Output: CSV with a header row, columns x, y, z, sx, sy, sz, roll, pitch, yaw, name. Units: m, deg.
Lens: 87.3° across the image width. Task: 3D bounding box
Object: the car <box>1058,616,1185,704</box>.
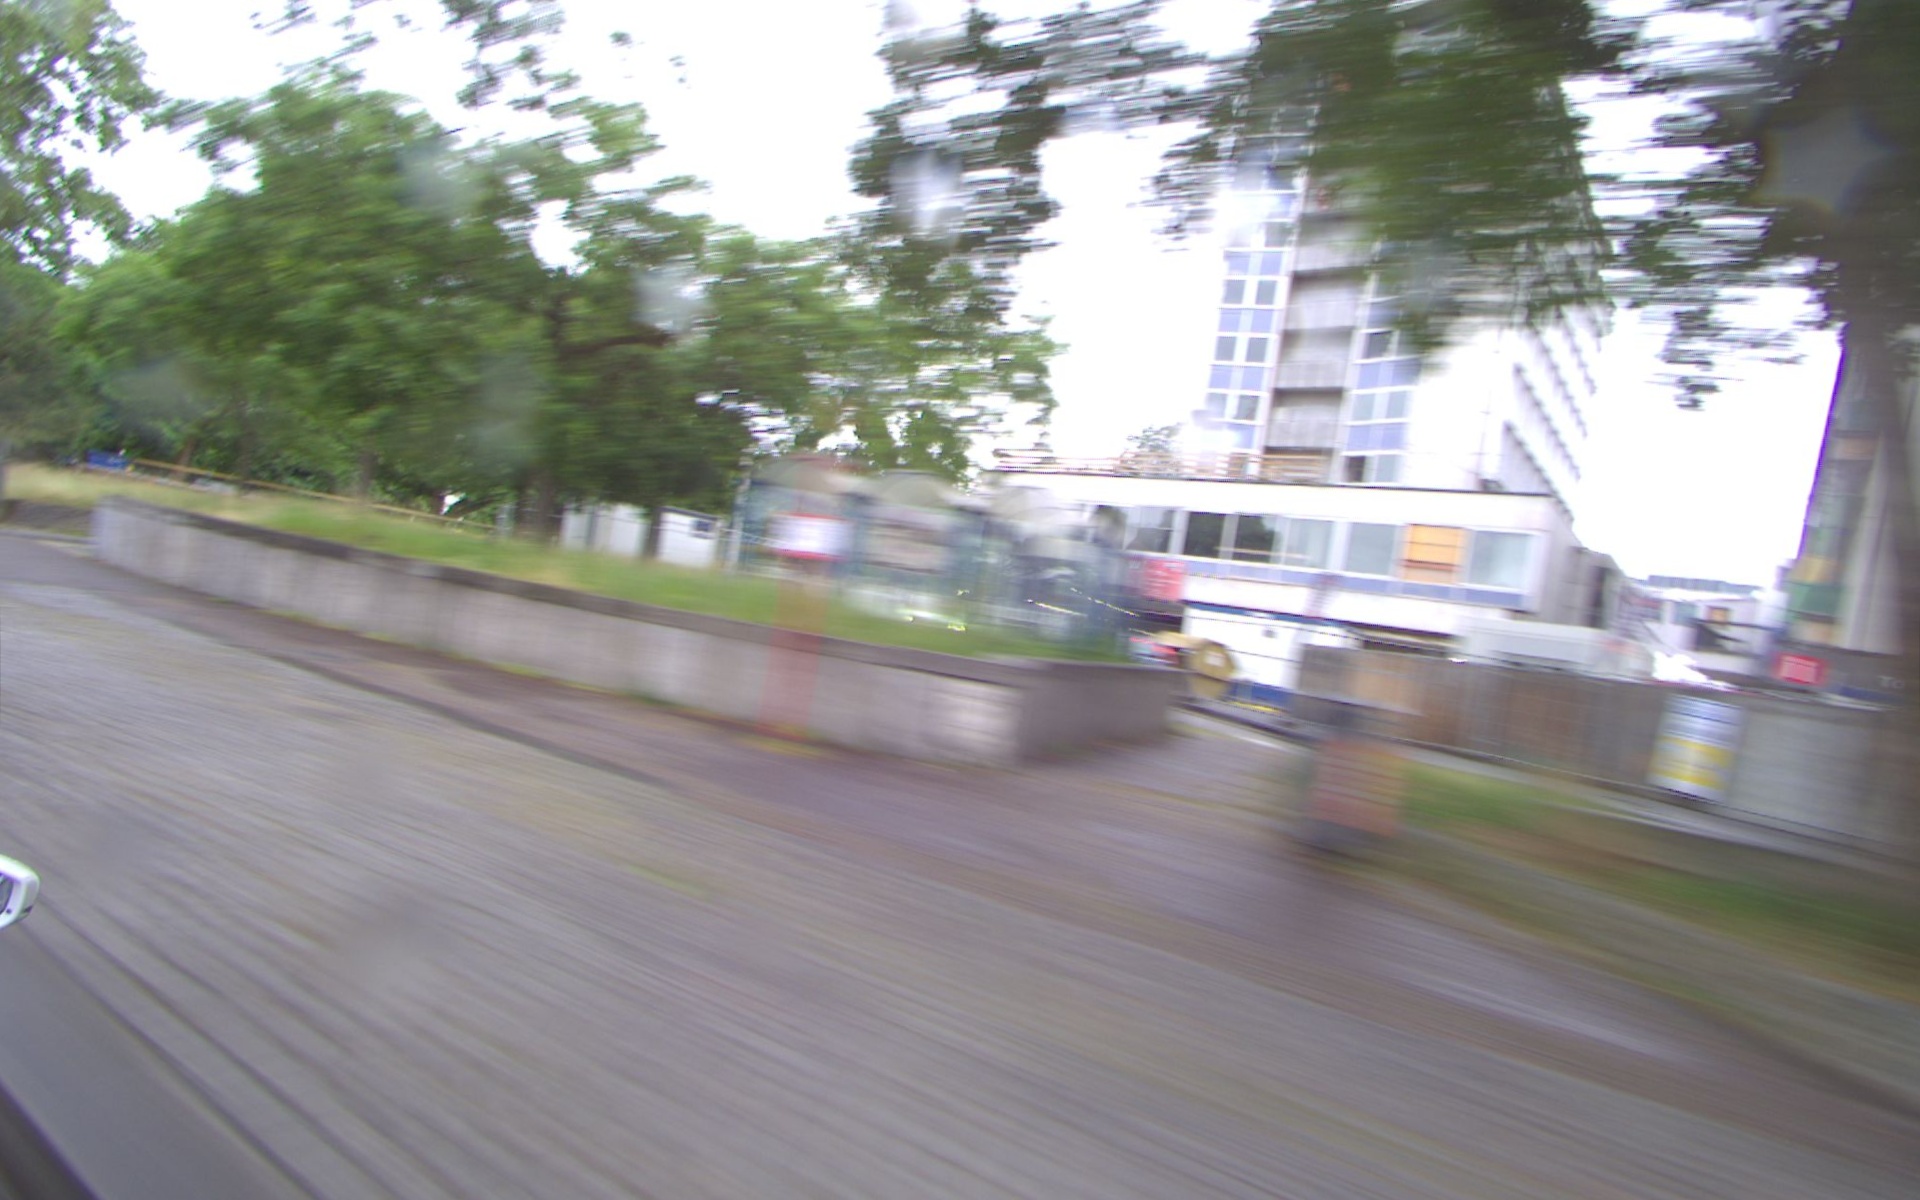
x,y,z,sx,sy,sz,roll,pitch,yaw,name
3.674,1.334,23.431,1.765,1.609,3.335,8,-1,-9,car
